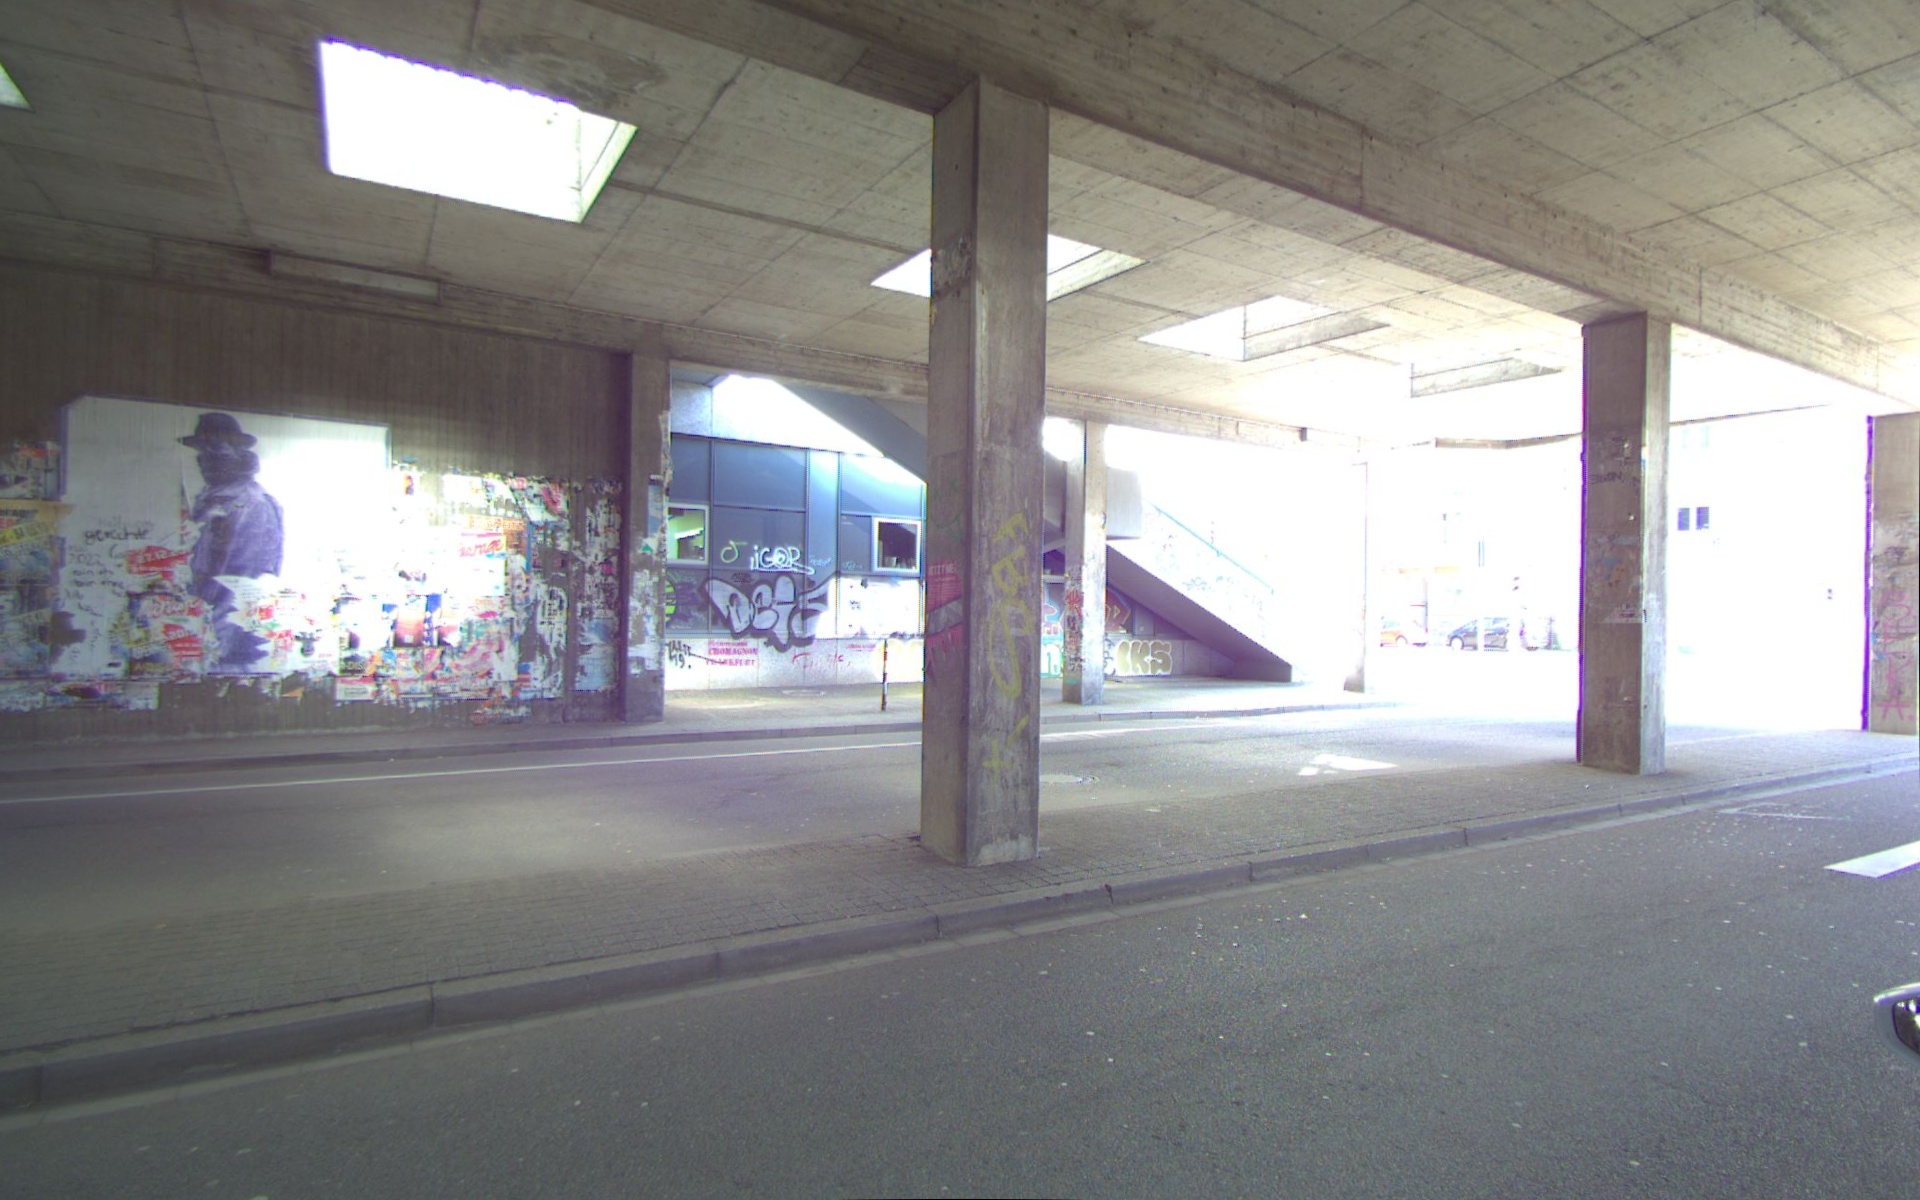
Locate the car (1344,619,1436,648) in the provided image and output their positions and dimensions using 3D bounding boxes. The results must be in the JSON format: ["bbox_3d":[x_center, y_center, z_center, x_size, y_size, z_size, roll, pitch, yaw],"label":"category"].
[{"bbox_3d":[22.502,1.733,52.677,2.163,1.392,3.971,1,-1,-28],"label":"car"}]

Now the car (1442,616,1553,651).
[{"bbox_3d":[25.424,1.551,47.666,2.240,1.571,4.111,1,-1,-29],"label":"car"}]
